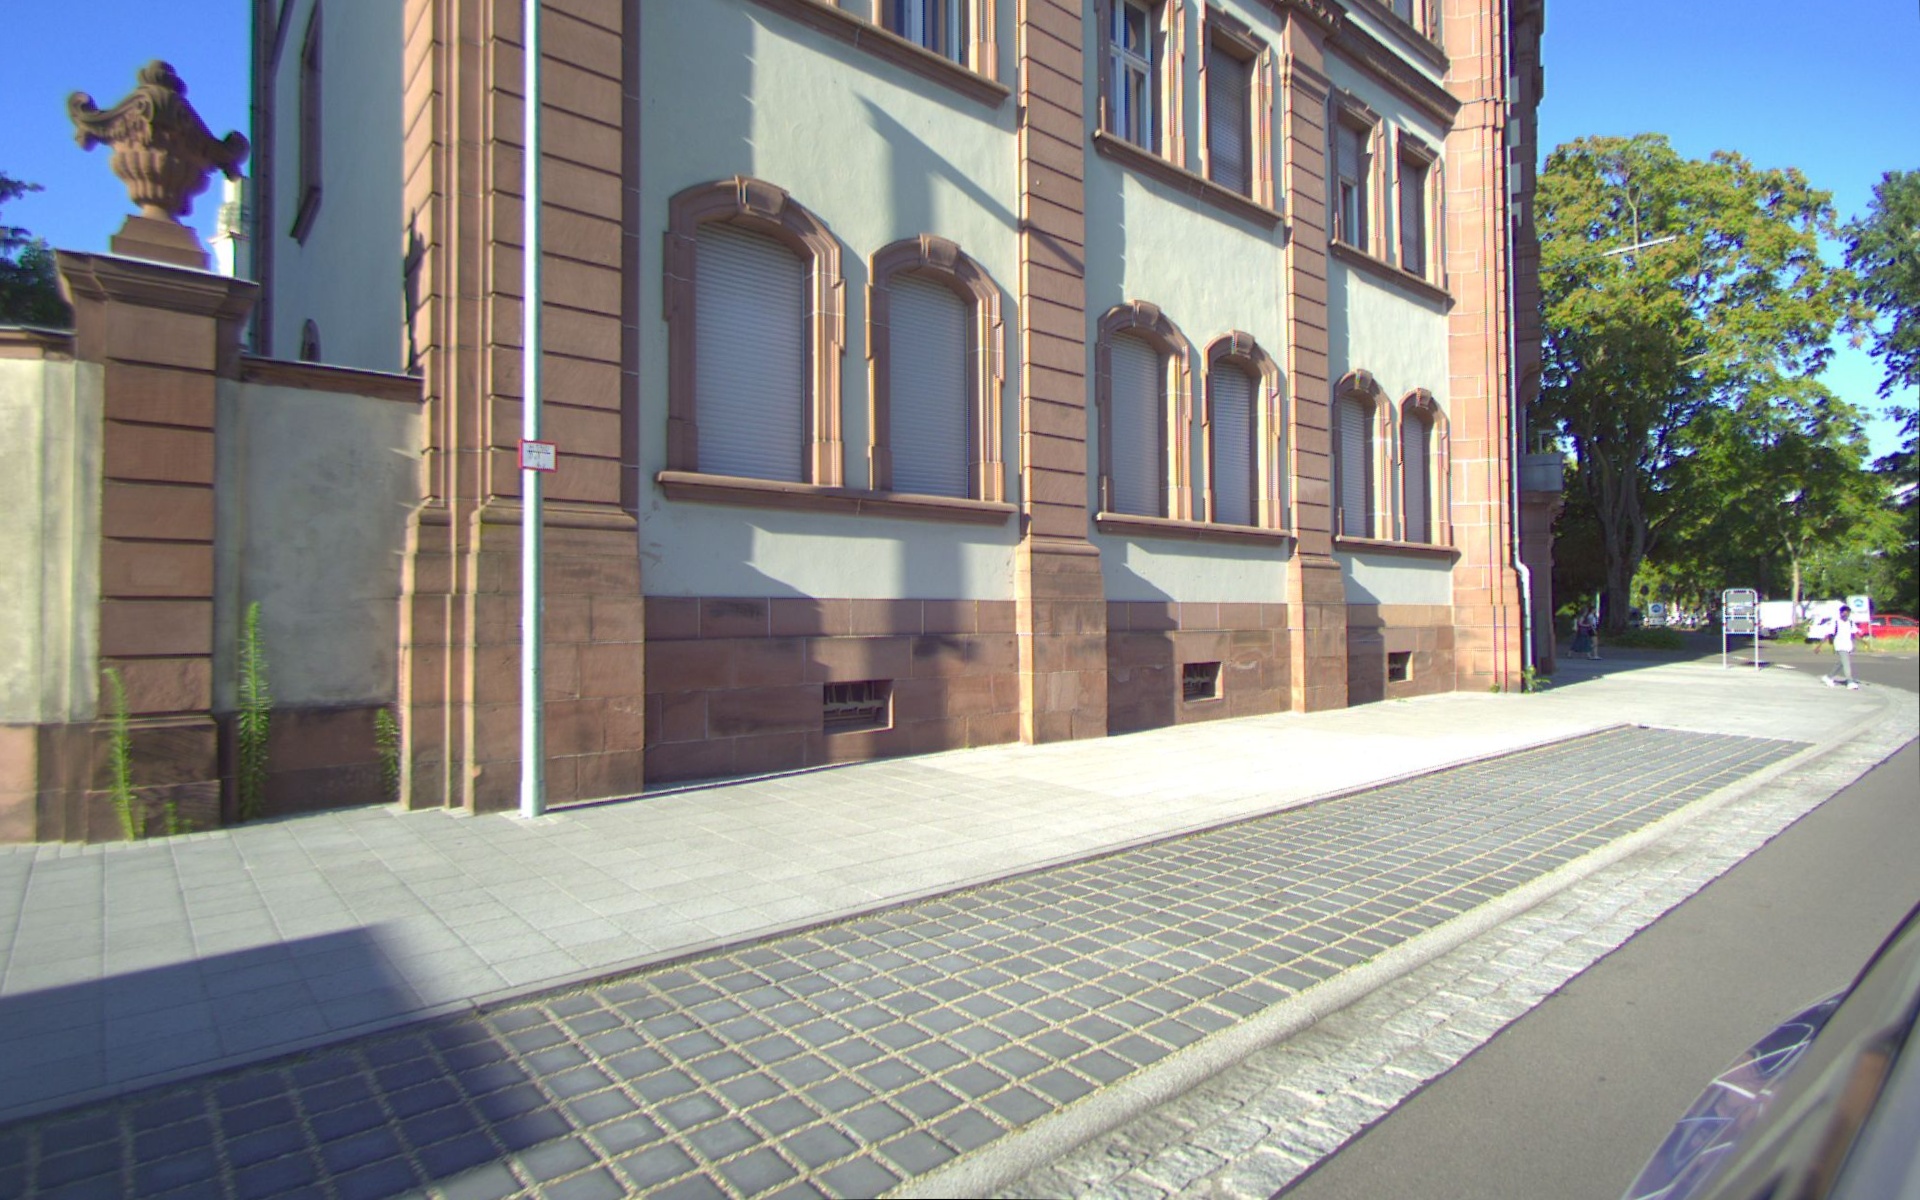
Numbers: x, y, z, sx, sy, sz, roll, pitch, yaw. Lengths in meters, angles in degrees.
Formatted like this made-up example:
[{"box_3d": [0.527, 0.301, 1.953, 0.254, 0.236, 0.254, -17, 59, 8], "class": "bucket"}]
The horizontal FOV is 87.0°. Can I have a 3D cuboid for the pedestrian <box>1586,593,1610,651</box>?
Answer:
[{"box_3d": [20.897, 0.739, 33.132, 0.608, 1.864, 0.717, -2, -4, 33], "class": "pedestrian"}]

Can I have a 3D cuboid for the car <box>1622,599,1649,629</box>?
[{"box_3d": [60.795, 1.292, 91.059, 1.939, 2.633, 4.114, -2, -2, 34], "class": "car"}]

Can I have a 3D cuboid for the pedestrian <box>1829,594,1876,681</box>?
[{"box_3d": [18.381, 0.753, 20.857, 0.530, 1.740, 0.991, 1, 0, 32], "class": "pedestrian"}]

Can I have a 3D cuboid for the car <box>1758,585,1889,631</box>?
[{"box_3d": [54.319, 0.529, 63.860, 5.859, 2.735, 2.197, -2, -2, 30], "class": "car"}]

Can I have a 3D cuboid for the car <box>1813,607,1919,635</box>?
[{"box_3d": [48.096, 1.134, 53.727, 4.024, 1.438, 1.700, -2, -2, 30], "class": "car"}]

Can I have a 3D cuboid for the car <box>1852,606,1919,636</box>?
[{"box_3d": [45.554, 1.003, 48.646, 3.648, 1.438, 1.700, -2, -2, 30], "class": "car"}]

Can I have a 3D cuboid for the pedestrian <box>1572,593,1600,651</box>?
[{"box_3d": [20.209, 0.717, 32.683, 0.711, 1.864, 0.780, -2, -4, 33], "class": "pedestrian"}]
